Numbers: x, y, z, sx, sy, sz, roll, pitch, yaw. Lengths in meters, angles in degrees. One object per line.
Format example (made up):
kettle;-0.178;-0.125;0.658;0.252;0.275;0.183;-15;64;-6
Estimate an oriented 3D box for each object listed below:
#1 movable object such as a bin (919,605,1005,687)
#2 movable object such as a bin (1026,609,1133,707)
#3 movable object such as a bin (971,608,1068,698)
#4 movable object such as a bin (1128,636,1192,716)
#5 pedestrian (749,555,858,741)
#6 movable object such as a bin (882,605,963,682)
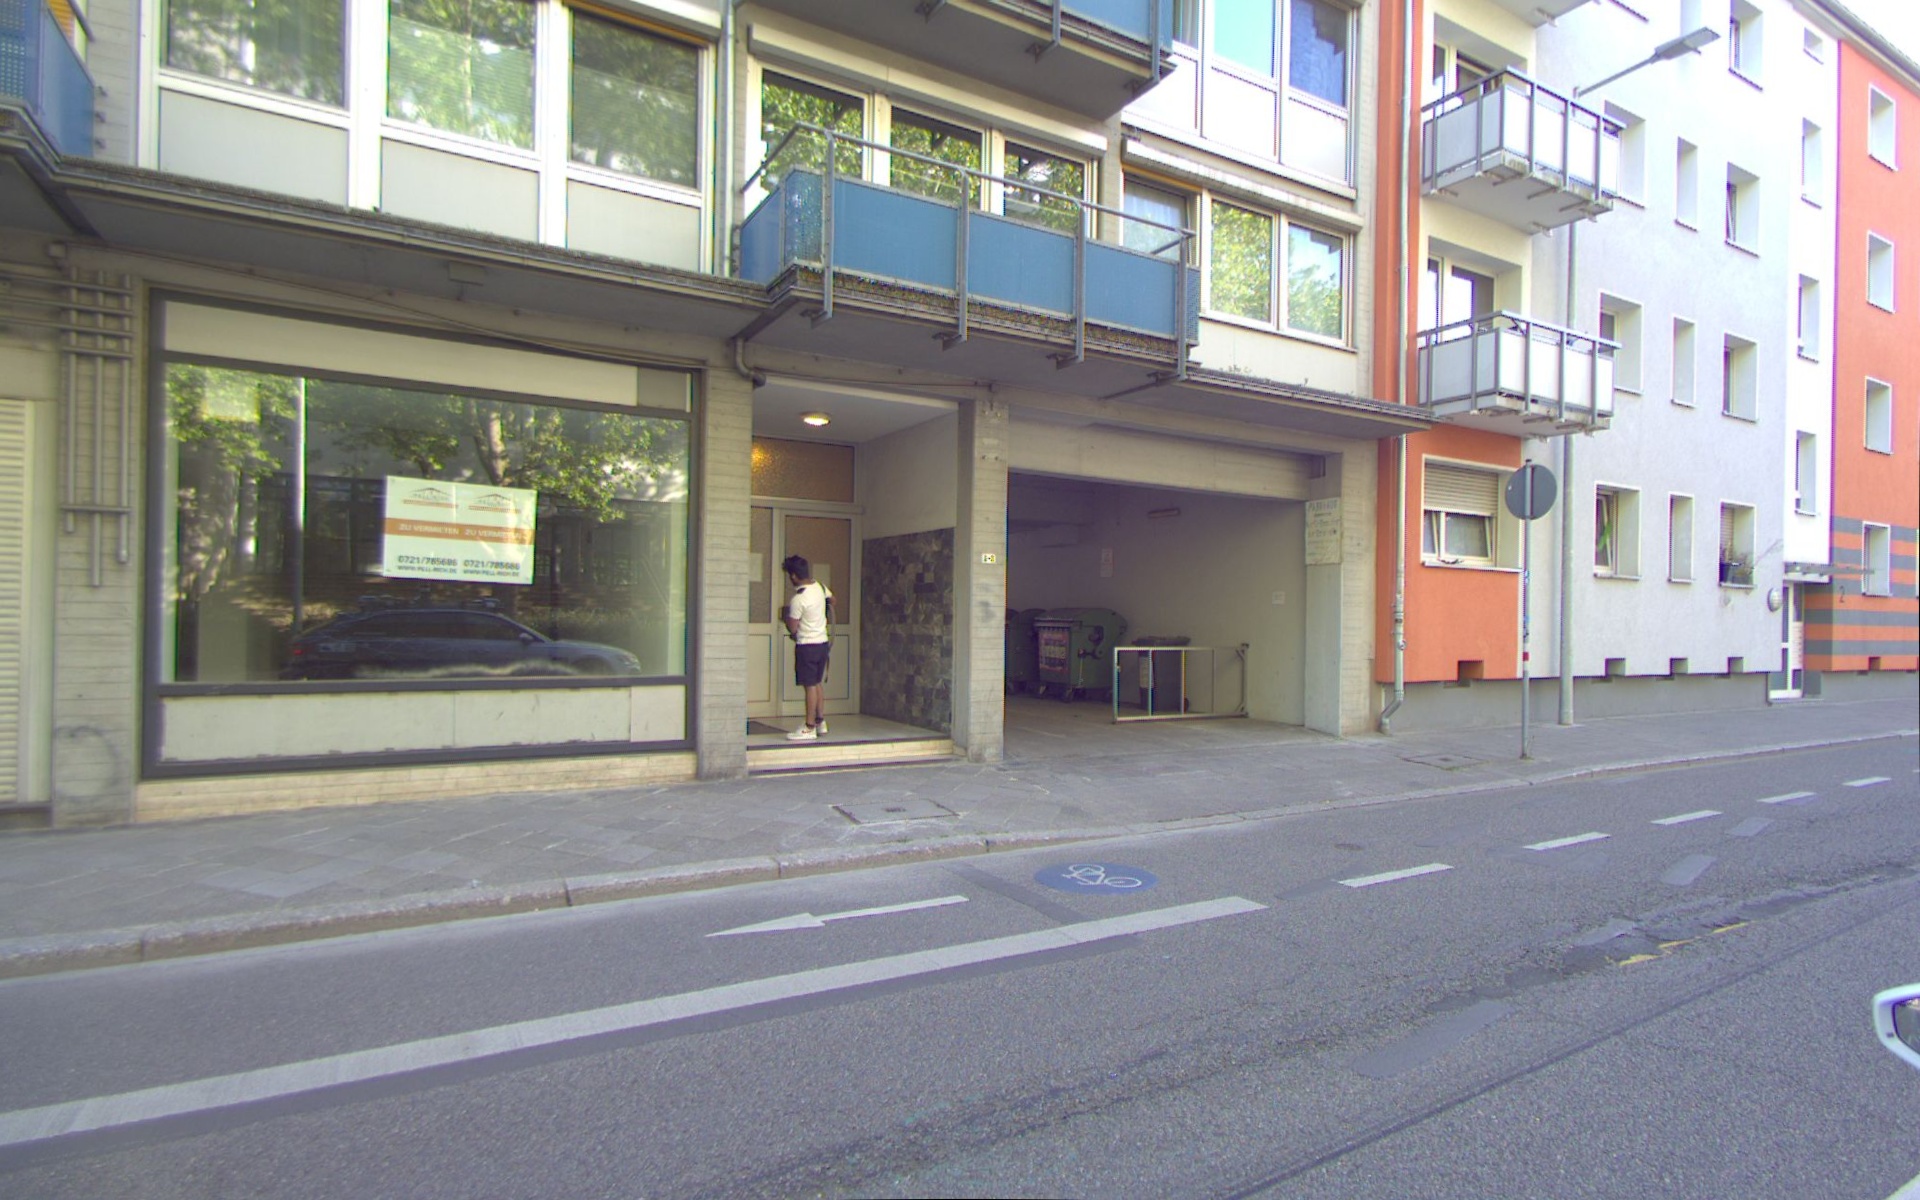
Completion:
movable object such as a bin;0.023;0.841;18.698;1.120;1.444;1.268;2;0;-28
movable object such as a bin;1.868;0.882;15.812;1.120;1.444;1.268;2;0;-28
movable object such as a bin;1.001;0.879;17.154;1.120;1.444;1.268;2;0;-28
movable object such as a bin;2.880;1.081;14.488;0.713;1.094;0.533;2;0;-29
pedestrian;-1.438;0.430;9.365;0.820;1.639;0.794;2;0;3
movable object such as a bin;-0.749;0.845;19.789;1.120;1.444;1.268;2;0;-28
